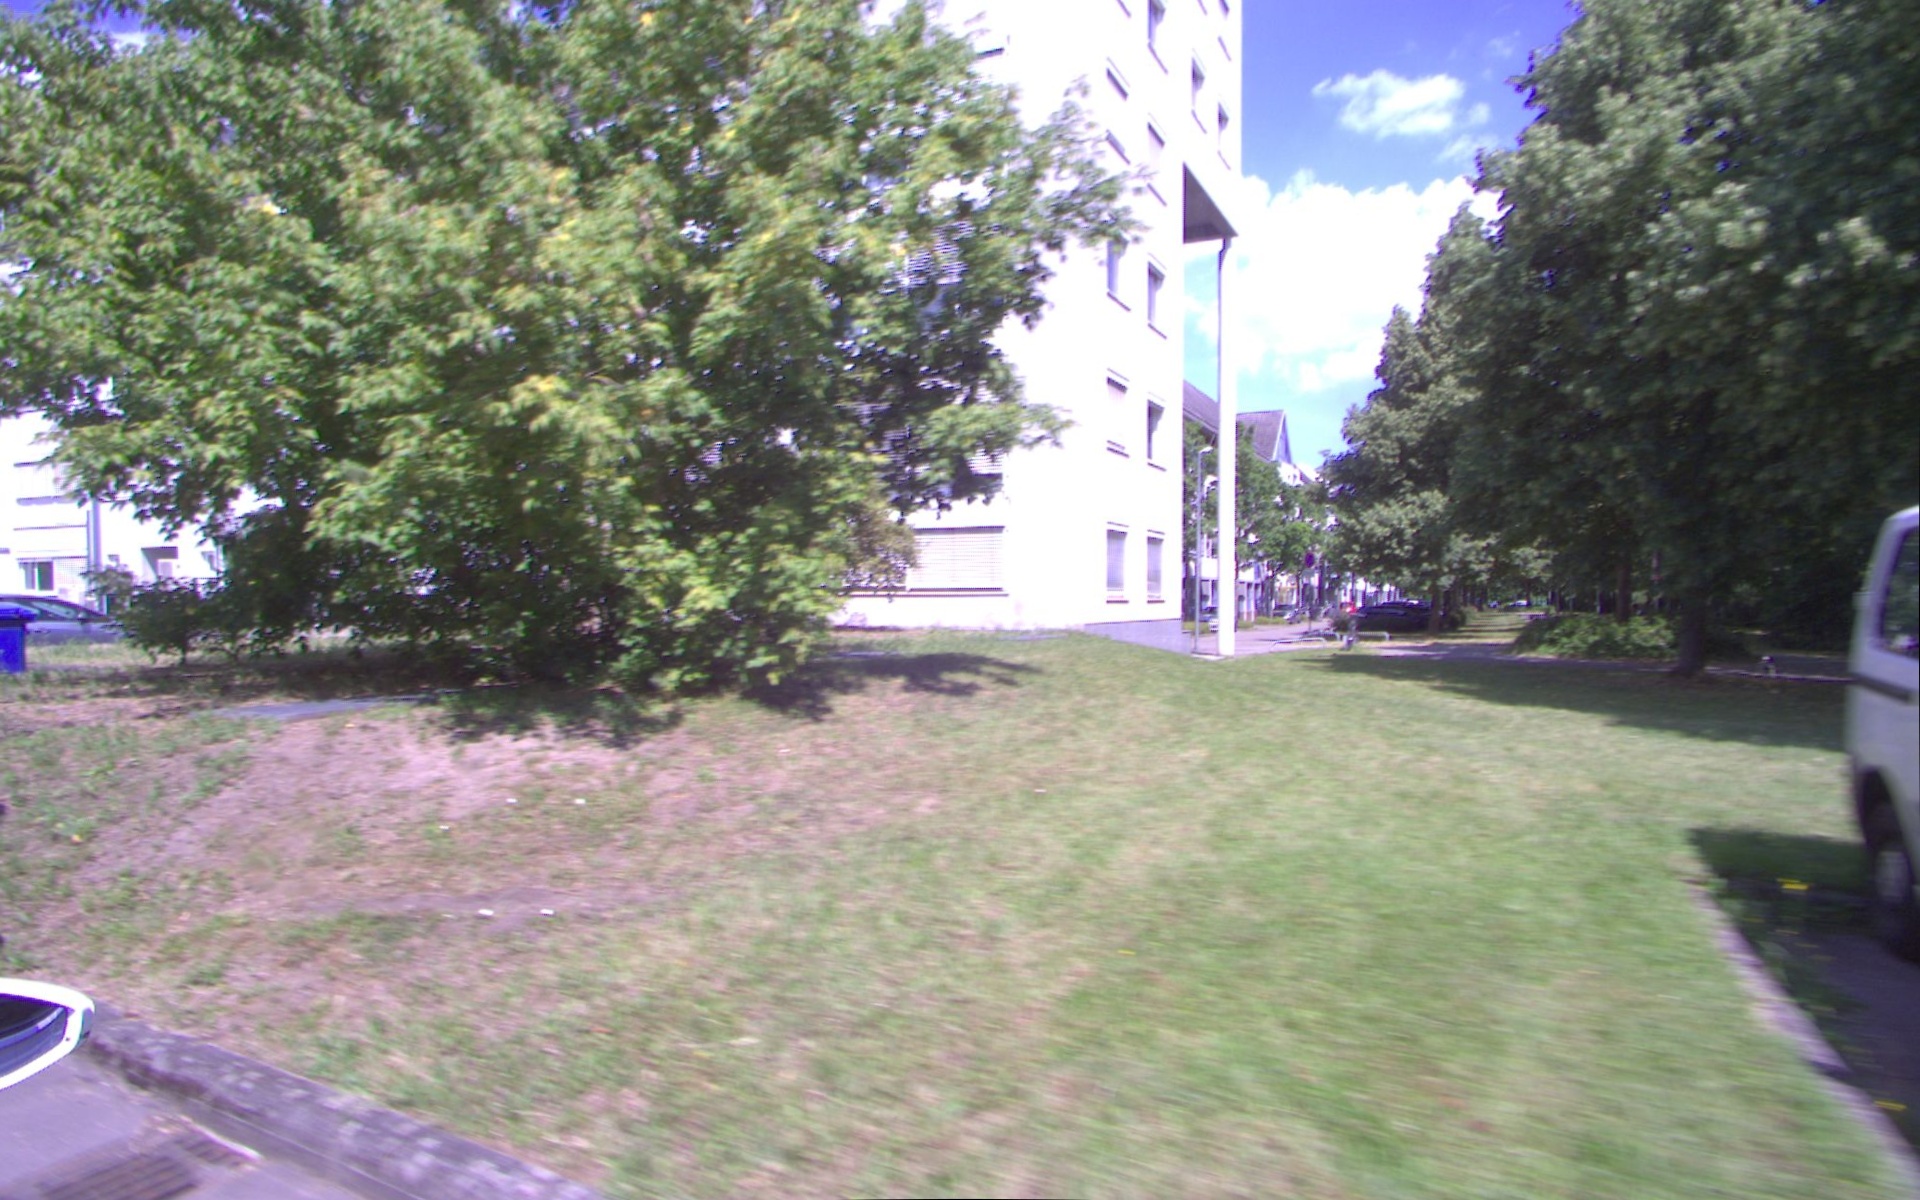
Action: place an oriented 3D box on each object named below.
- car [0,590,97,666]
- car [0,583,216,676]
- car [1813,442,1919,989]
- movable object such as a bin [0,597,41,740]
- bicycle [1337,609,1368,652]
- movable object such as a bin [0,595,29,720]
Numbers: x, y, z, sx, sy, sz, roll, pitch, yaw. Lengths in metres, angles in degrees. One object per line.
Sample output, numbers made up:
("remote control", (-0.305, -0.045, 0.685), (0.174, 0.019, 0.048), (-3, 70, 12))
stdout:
("car", (-19.038, 0.534, 18.753), (1.776, 1.409, 3.984), (1, 1, 27))
("car", (-15.755, 0.449, 17.546), (1.776, 1.498, 3.984), (1, 1, 27))
("car", (3.982, 0.429, 2.397), (1.969, 2.040, 4.754), (0, 0, 28))
("movable object such as a bin", (-9.760, 0.654, 9.521), (1.143, 1.345, 1.214), (1, 2, 31))
("bicycle", (10.670, 0.808, 27.217), (0.592, 1.099, 1.932), (1, 1, 27))
("movable object such as a bin", (-11.032, 0.624, 10.731), (1.142, 1.345, 1.215), (1, 2, 27))
